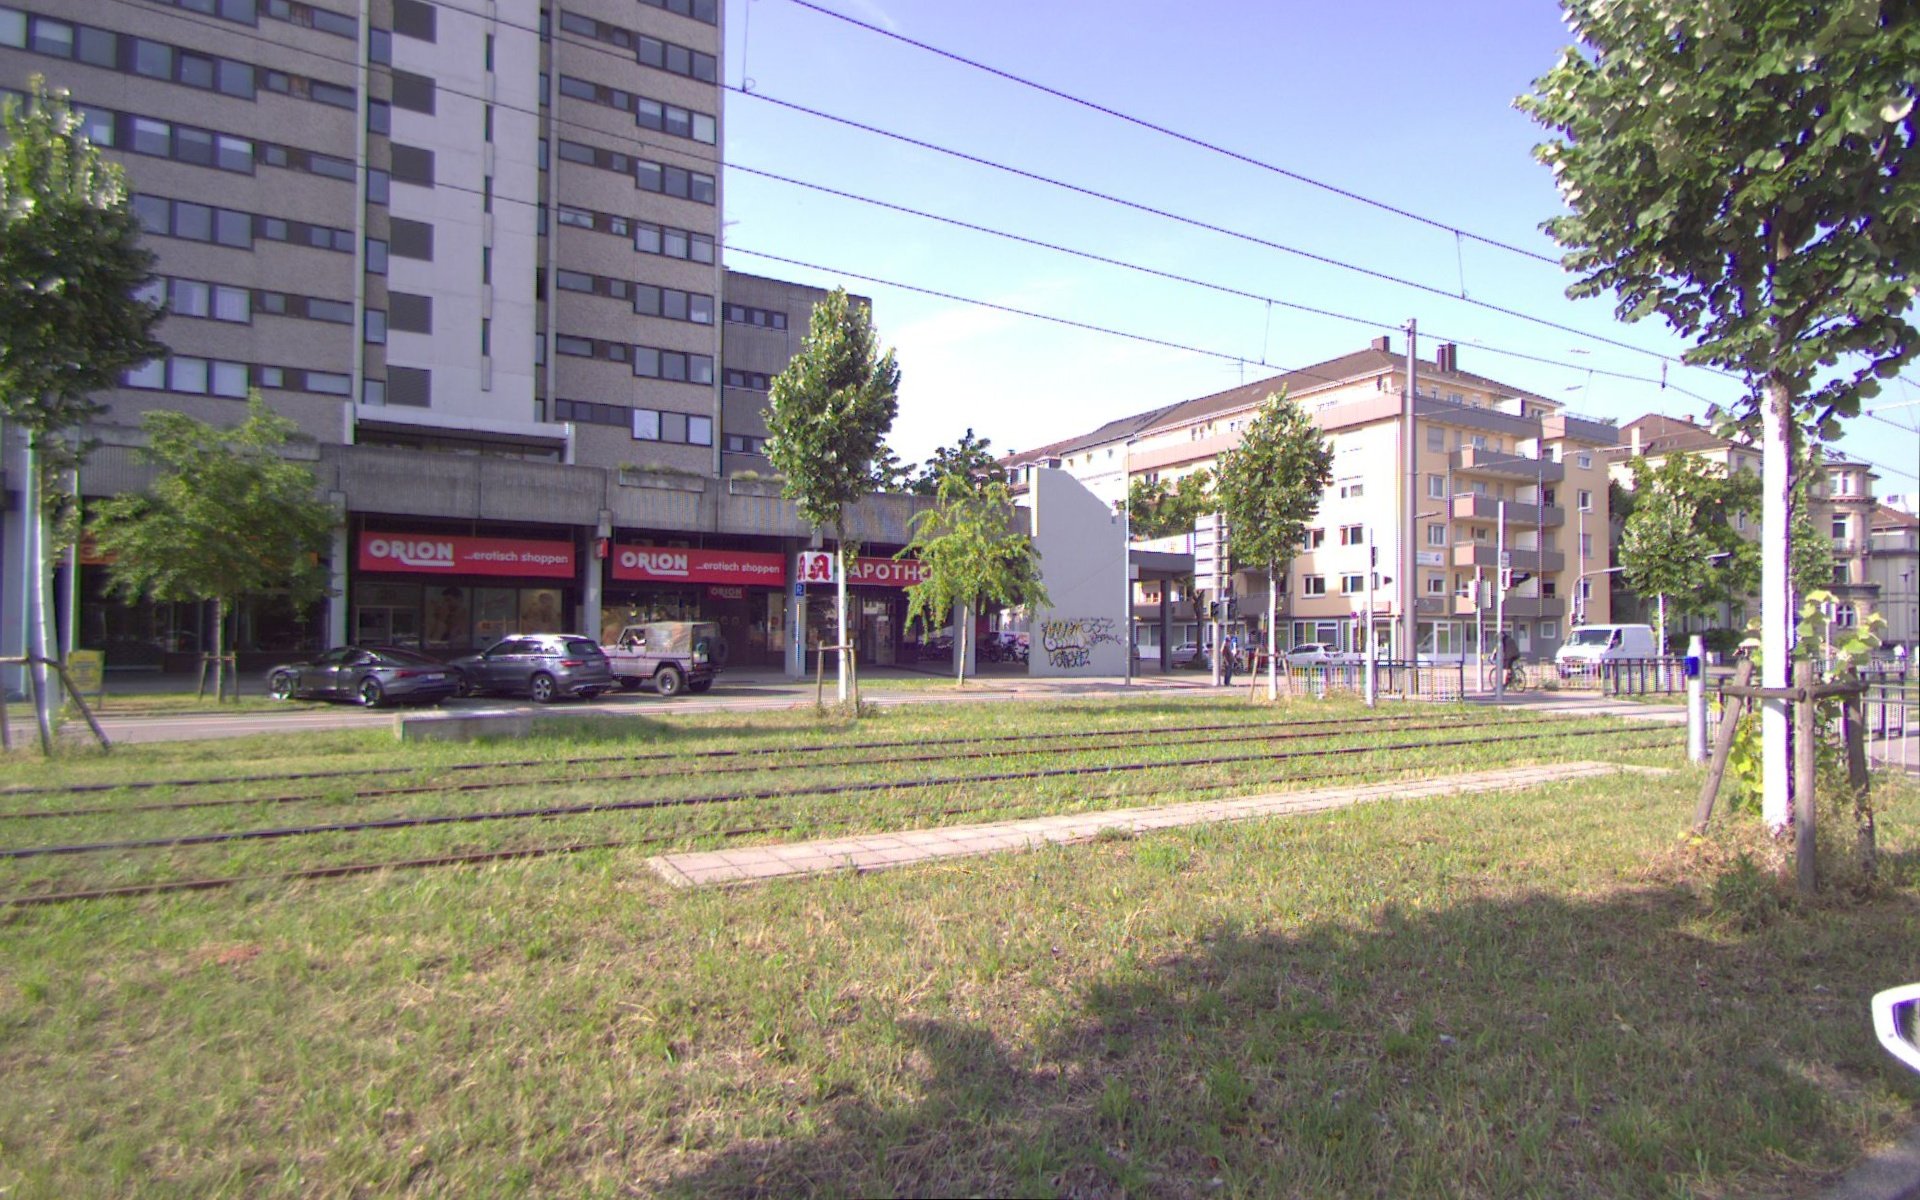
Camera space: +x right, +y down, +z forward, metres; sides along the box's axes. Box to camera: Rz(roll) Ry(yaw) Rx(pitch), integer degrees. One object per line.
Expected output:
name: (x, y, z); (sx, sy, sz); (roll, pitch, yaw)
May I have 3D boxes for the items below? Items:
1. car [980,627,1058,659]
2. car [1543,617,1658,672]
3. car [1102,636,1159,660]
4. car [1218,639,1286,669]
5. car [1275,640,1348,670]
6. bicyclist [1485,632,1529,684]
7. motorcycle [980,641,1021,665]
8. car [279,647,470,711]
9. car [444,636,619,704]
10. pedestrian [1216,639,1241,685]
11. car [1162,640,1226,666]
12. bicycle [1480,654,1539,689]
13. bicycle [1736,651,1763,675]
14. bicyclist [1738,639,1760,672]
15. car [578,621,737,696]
car: (3.864, 2.797, 65.658); (4.777, 1.994, 1.984); (2, -3, -30)
car: (27.533, 1.895, 43.133); (5.274, 2.268, 2.035); (2, -2, -31)
car: (12.149, 3.419, 71.666); (1.797, 1.625, 3.916); (2, -2, -34)
car: (17.814, 3.284, 61.423); (1.755, 1.711, 3.766); (2, -2, -33)
car: (20.083, 3.119, 57.489); (1.690, 1.604, 3.602); (-2, -1, -33)
bicyclist: (15.445, 1.651, 28.388); (0.536, 1.413, 0.973); (-1, -4, -9)
motorcycle: (2.202, 2.893, 54.849); (2.116, 1.269, 0.820); (2, -2, -30)
car: (-14.205, 1.873, 24.391); (4.031, 1.261, 1.879); (1, 0, 21)
car: (-11.171, 1.770, 26.217); (4.031, 1.627, 1.879); (0, -2, 21)
pedestrian: (10.117, 2.340, 37.835); (0.637, 1.712, 0.656); (1, -2, -27)
car: (15.256, 3.428, 65.660); (1.796, 1.625, 3.917); (2, -2, -33)
bicycle: (15.463, 2.013, 28.326); (0.547, 0.947, 1.611); (-1, -4, -9)
bicycle: (44.380, 3.534, 56.461); (1.740, 1.364, 0.690); (2, -2, -34)
bicyclist: (44.369, 3.092, 56.462); (1.072, 1.829, 0.665); (2, -2, -34)
car: (-8.626, 1.627, 28.673); (4.031, 1.994, 1.879); (0, -2, 21)
